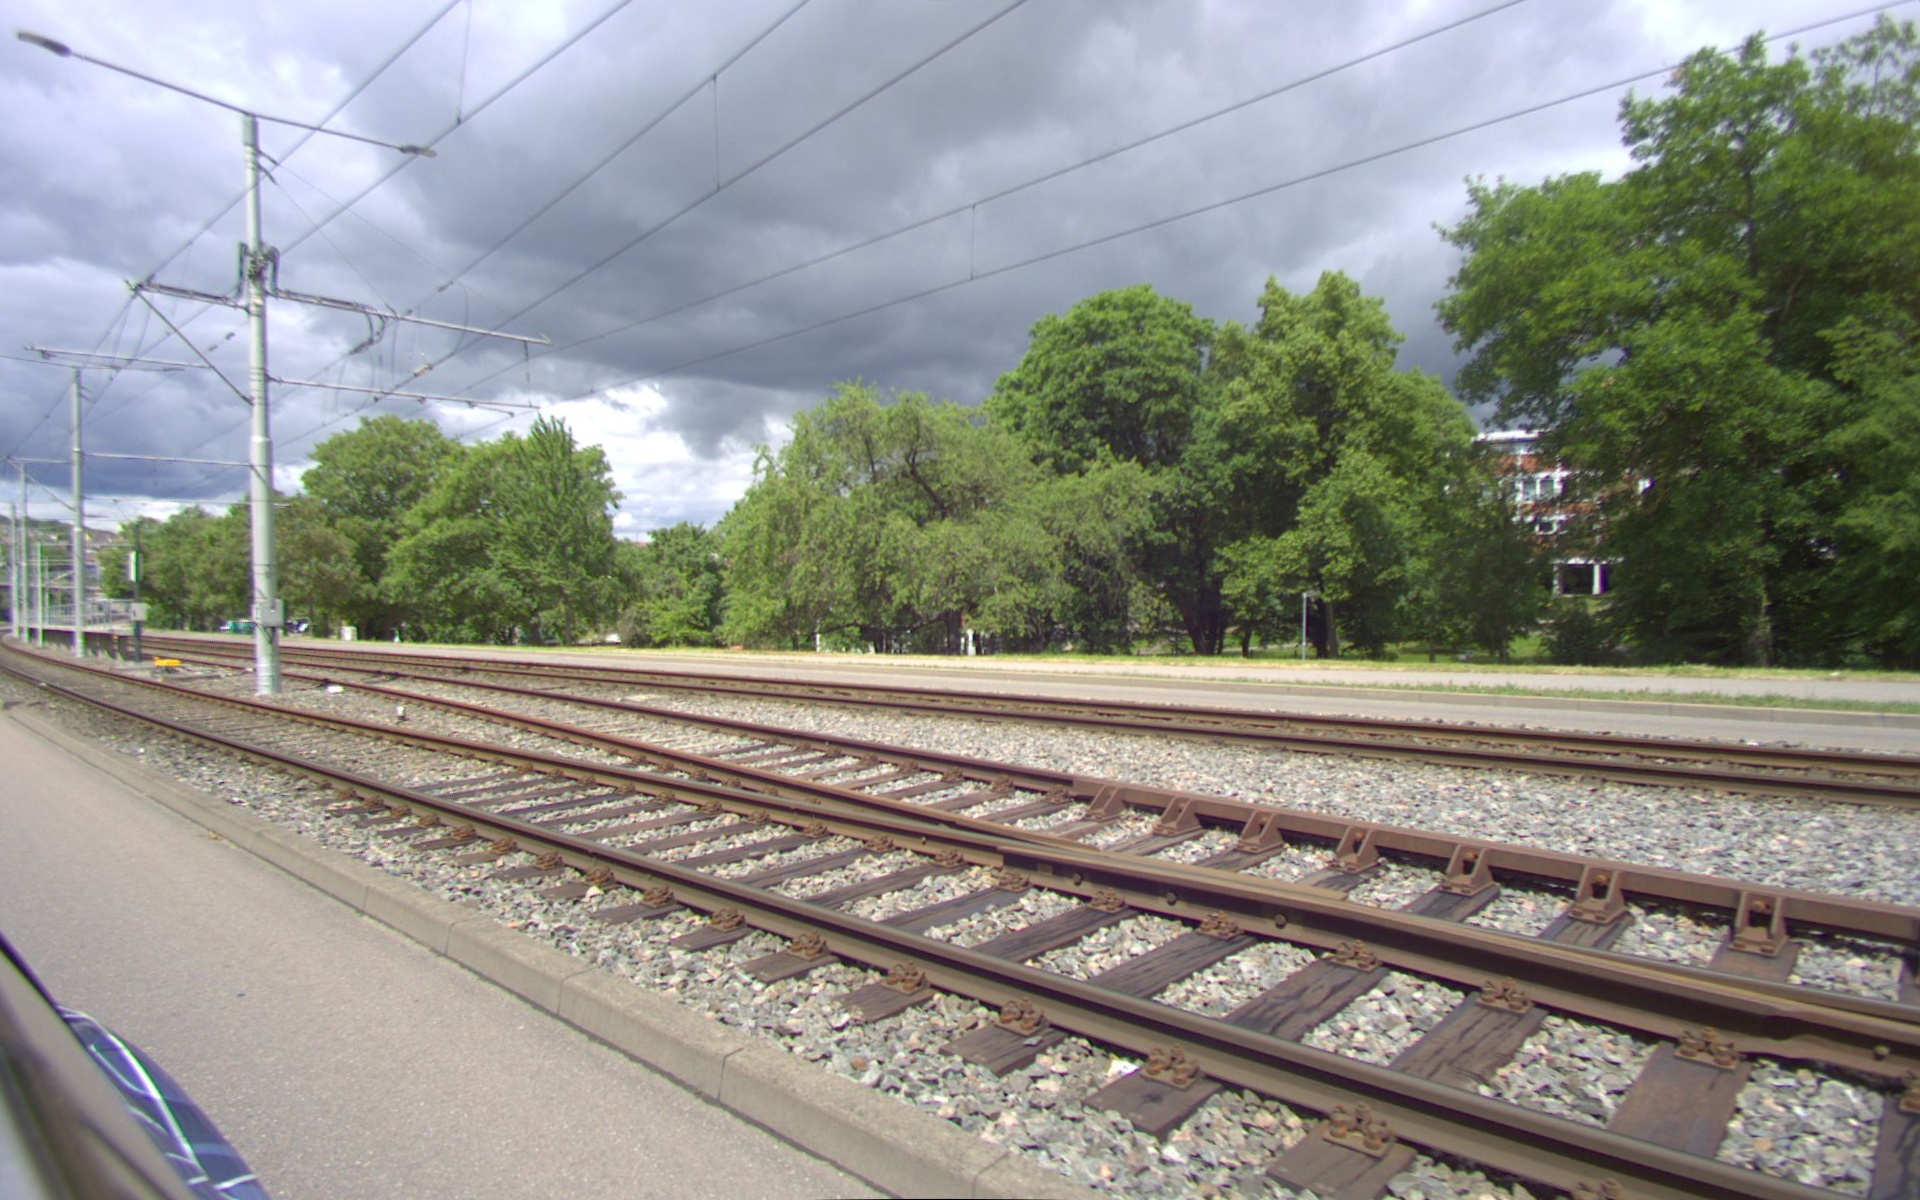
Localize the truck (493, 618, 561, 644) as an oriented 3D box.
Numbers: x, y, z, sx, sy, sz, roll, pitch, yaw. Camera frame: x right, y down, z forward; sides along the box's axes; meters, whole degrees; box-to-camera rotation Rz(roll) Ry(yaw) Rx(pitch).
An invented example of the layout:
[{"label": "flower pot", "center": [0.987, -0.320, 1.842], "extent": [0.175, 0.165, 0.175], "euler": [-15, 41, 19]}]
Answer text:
[{"label": "truck", "center": [-49.612, 3.601, 116.054], "extent": [6.522, 2.877, 2.683], "euler": [3, -3, -42]}]
